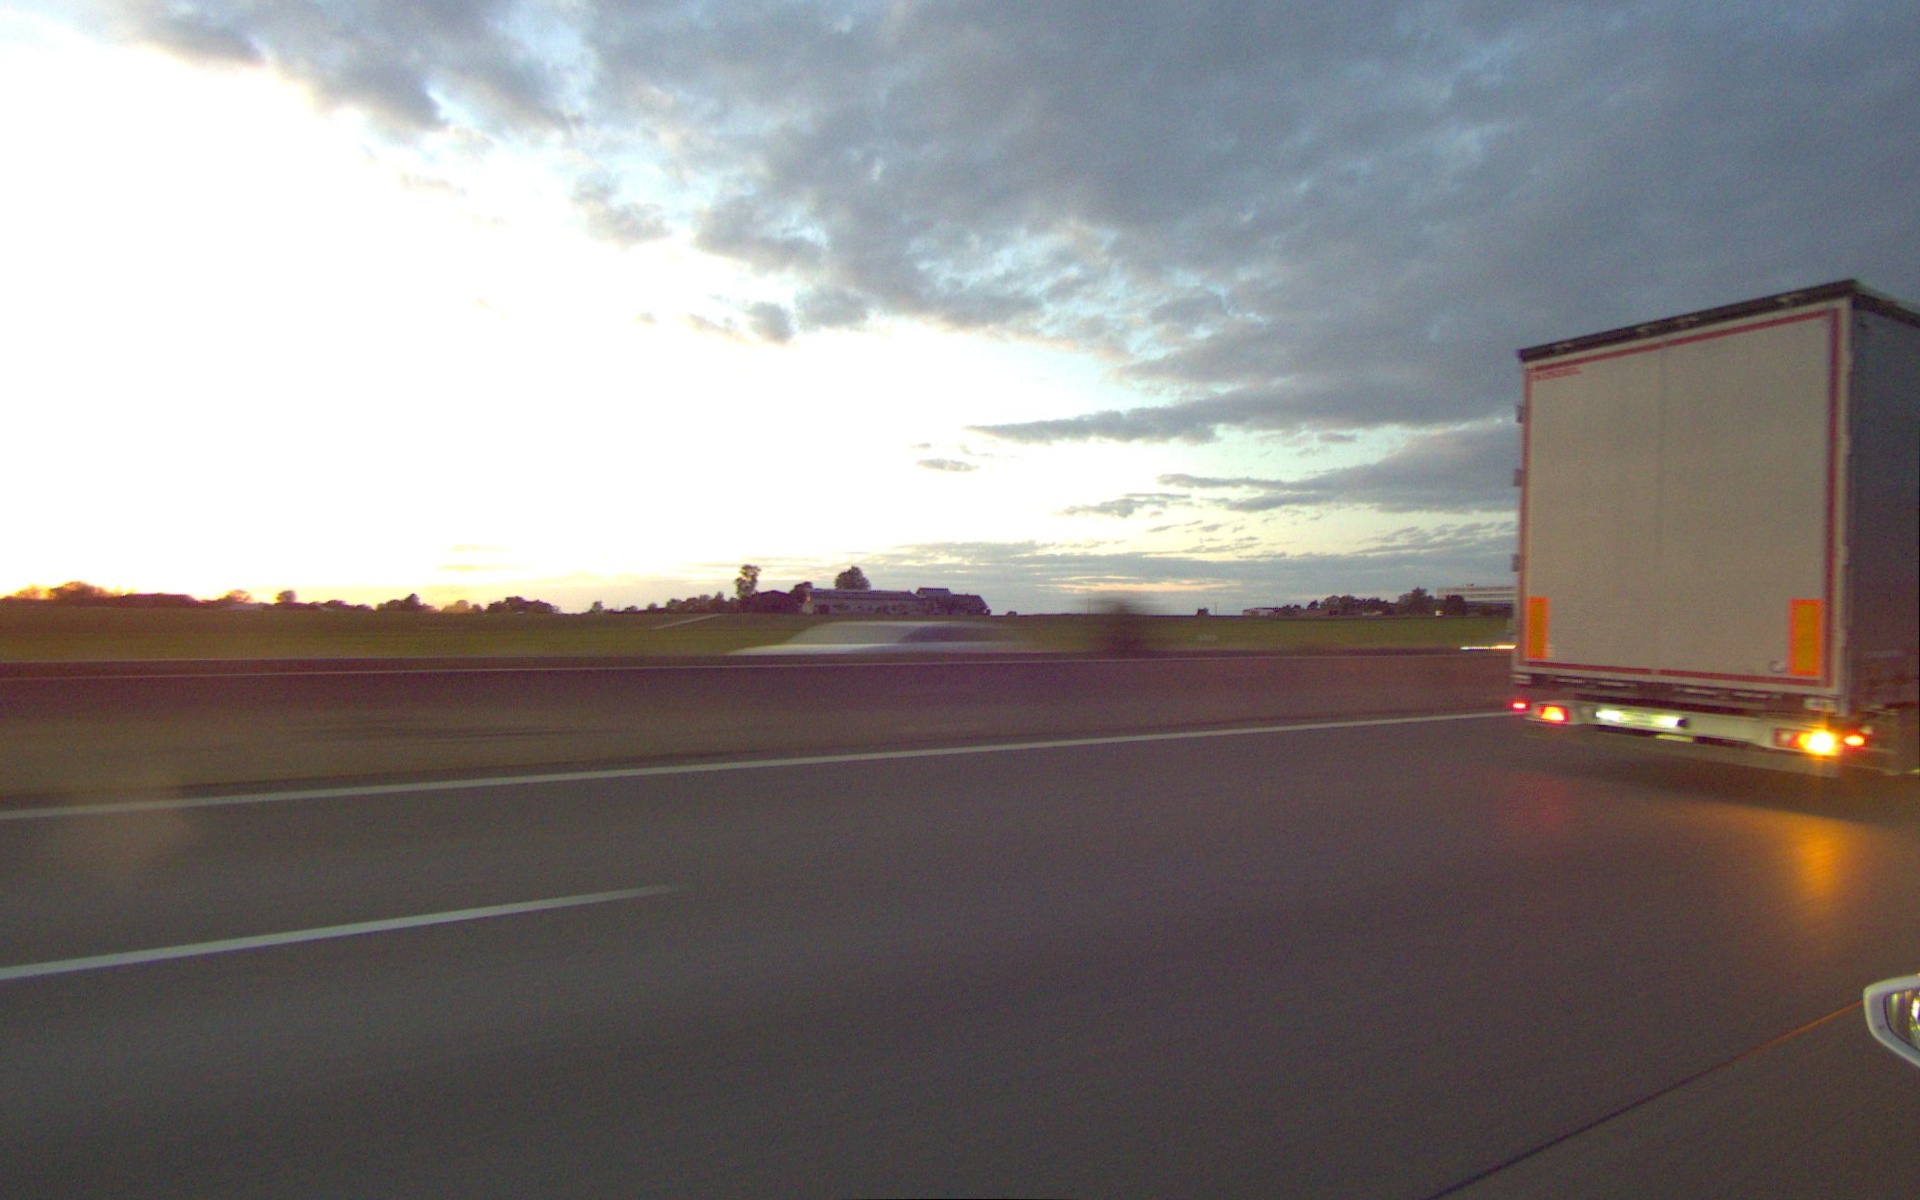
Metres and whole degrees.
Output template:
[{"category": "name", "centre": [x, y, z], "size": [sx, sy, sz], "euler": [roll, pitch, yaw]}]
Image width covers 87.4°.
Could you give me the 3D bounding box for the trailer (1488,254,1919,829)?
[{"category": "trailer", "centre": [12.002, -0.194, 11.983], "size": [14.351, 4.139, 2.782], "euler": [2, -1, -30]}]

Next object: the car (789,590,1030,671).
[{"category": "car", "centre": [-1.004, 0.653, 21.142], "size": [4.831, 1.543, 1.651], "euler": [2, 0, -31]}]
